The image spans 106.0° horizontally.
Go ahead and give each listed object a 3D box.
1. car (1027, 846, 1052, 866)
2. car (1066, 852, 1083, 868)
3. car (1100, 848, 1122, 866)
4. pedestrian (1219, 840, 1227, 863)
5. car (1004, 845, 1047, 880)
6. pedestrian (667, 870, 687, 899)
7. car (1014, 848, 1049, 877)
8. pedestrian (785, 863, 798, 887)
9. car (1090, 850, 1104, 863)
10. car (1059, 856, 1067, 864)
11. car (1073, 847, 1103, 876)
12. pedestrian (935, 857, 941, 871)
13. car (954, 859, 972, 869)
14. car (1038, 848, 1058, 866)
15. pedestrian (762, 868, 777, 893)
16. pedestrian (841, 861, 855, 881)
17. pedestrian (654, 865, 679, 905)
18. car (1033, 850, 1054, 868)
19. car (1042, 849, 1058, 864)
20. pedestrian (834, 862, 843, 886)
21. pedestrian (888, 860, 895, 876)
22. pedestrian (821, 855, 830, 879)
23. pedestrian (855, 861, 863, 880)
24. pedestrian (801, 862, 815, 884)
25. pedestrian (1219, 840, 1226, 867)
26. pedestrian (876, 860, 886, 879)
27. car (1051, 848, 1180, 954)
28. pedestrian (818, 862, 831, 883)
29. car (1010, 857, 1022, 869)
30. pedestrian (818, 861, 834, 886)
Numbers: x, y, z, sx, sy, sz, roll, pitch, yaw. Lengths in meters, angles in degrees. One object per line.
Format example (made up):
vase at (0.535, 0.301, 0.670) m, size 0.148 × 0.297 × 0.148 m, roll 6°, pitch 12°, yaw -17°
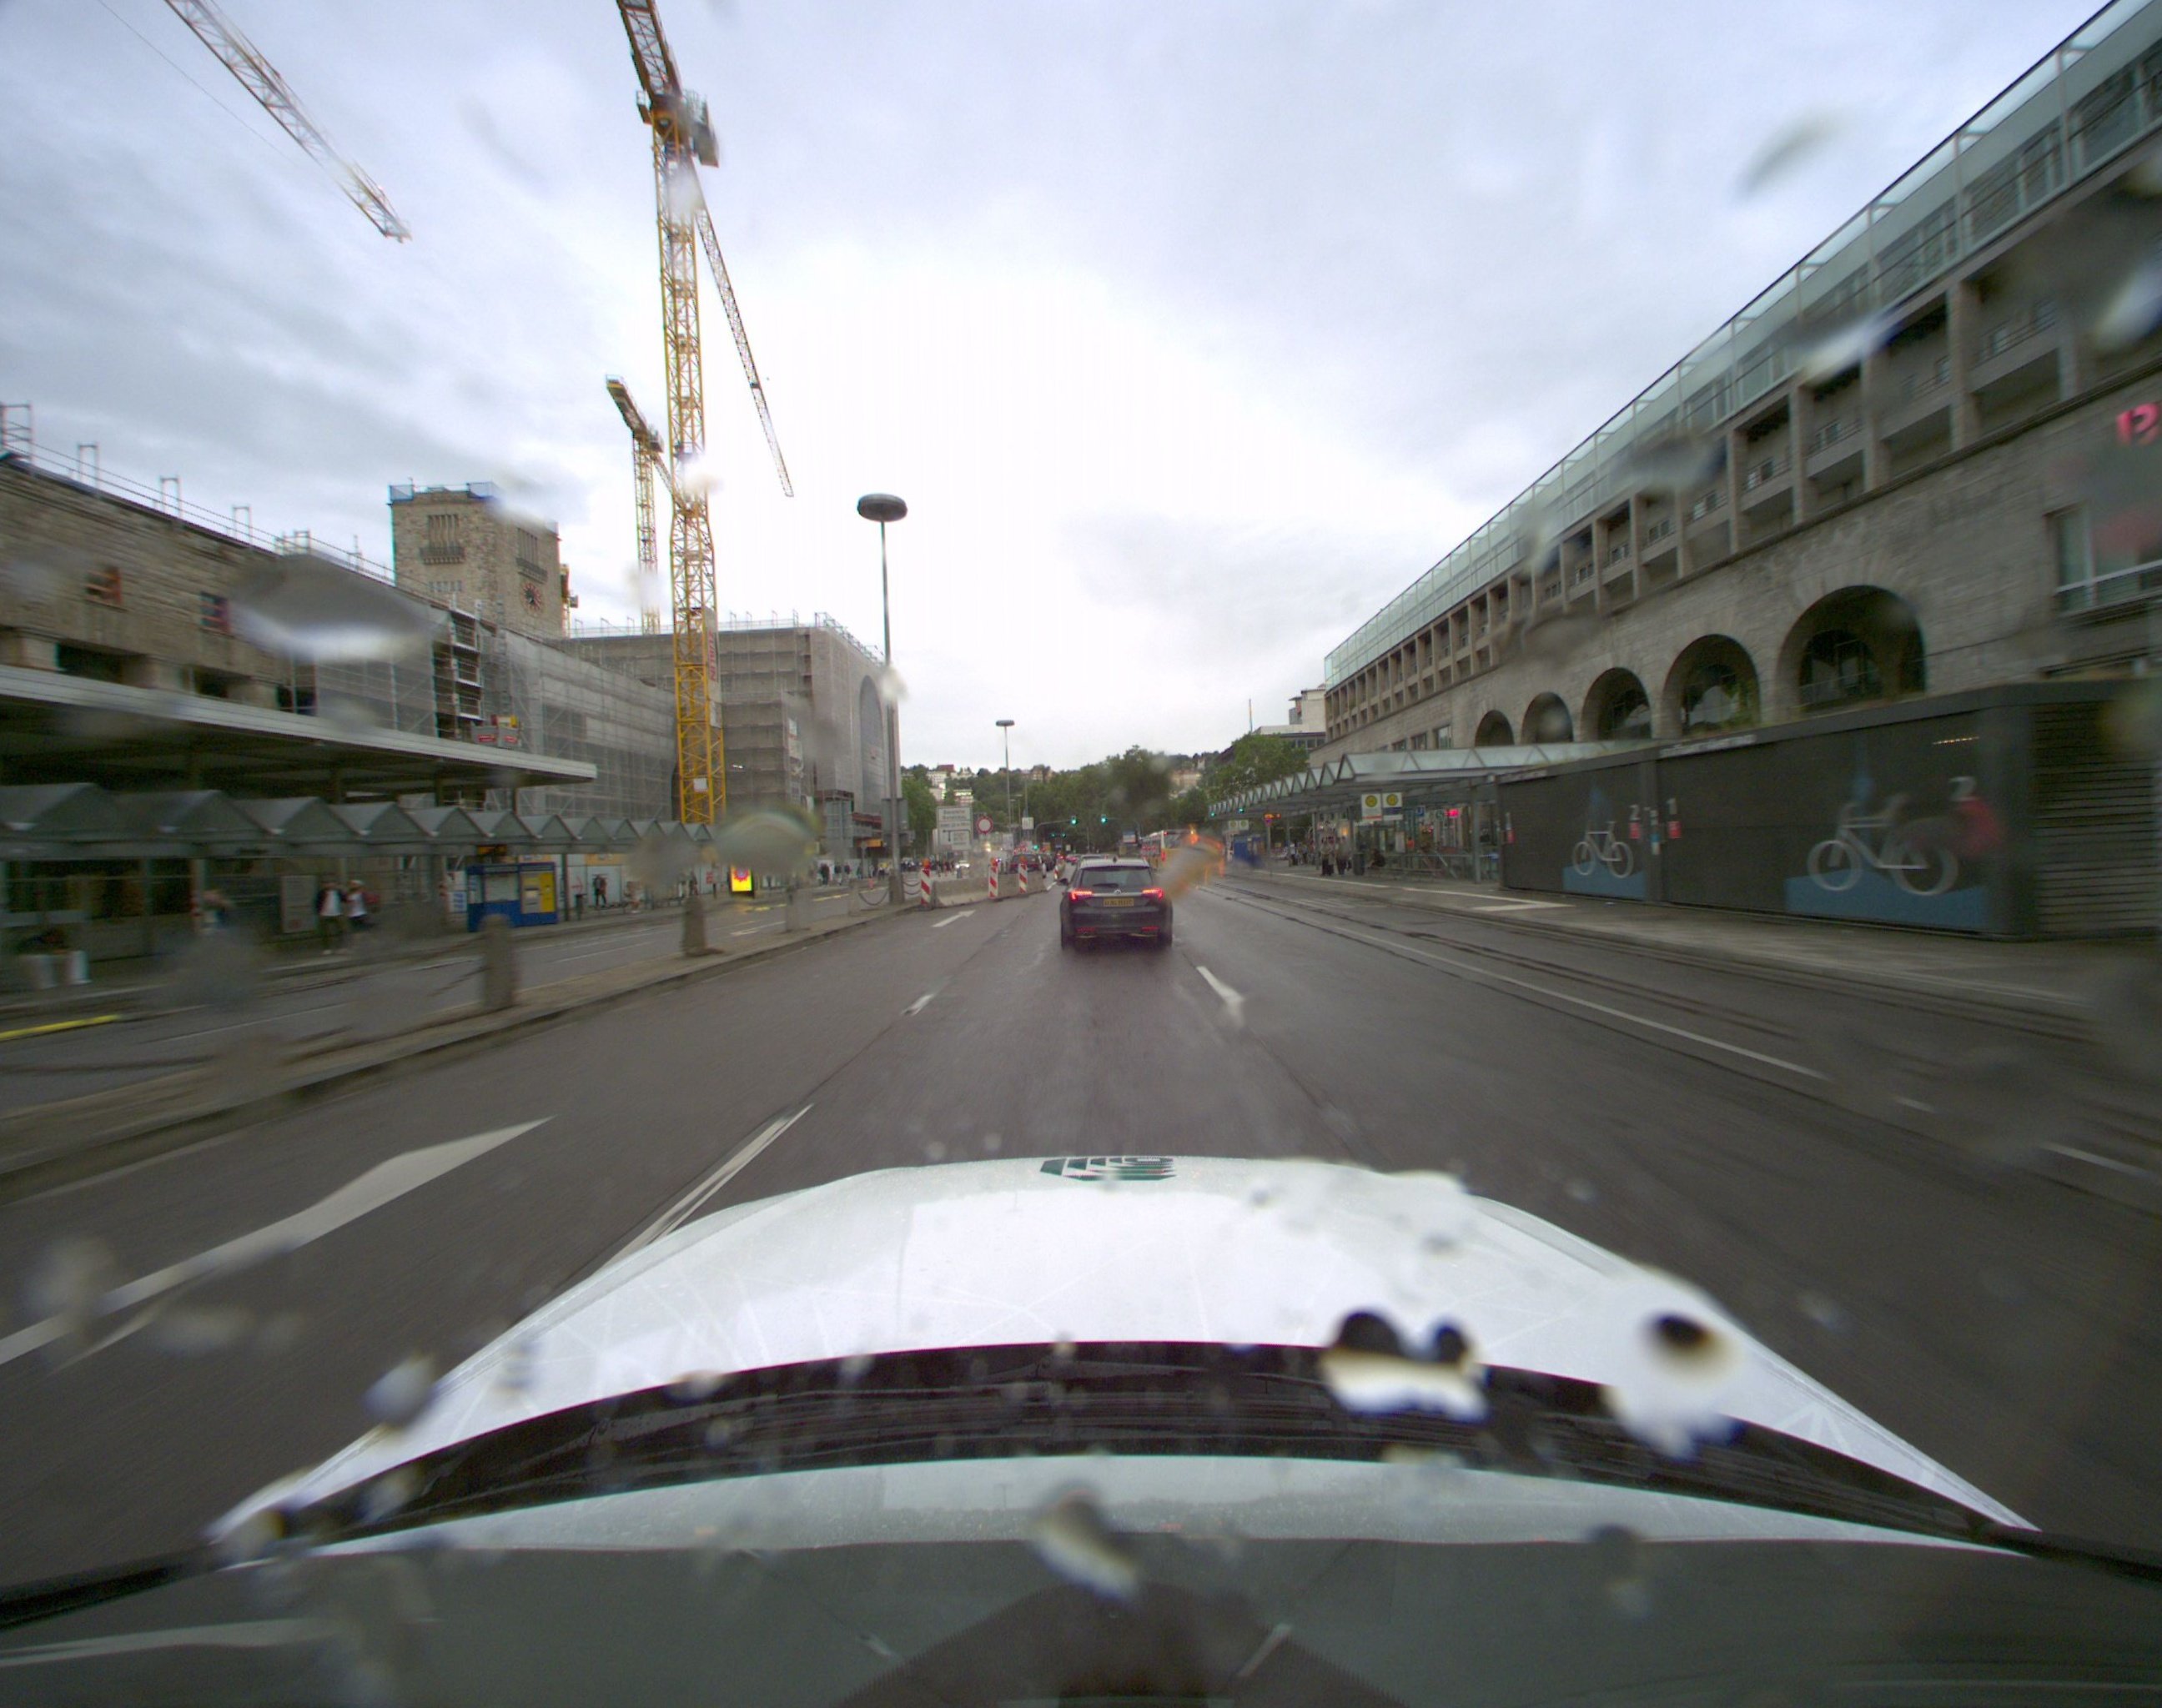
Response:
car at (-3.716, 0.212, 73.210) m, size 1.988 × 1.654 × 4.639 m, roll -3°, pitch 0°, yaw -1°
car at (-0.831, 0.746, 108.318) m, size 1.979 × 2.014 × 4.364 m, roll -1°, pitch 0°, yaw -3°
car at (2.900, 0.325, 80.593) m, size 1.847 × 1.717 × 3.996 m, roll -1°, pitch 0°, yaw -2°
pedestrian at (11.681, -0.196, 66.919) m, size 0.563 × 1.836 × 0.570 m, roll -2°, pitch 0°, yaw 3°
car at (-3.217, 0.482, 47.889) m, size 1.986 × 1.862 × 4.834 m, roll -3°, pitch 0°, yaw 1°
pedestrian at (-23.836, 1.807, 48.010) m, size 0.801 × 1.670 × 0.700 m, roll -2°, pitch 0°, yaw -5°
car at (-3.194, 0.515, 53.311) m, size 1.988 × 1.706 × 4.829 m, roll -3°, pitch 0°, yaw -1°
pedestrian at (-22.714, 1.631, 63.878) m, size 0.718 × 1.841 × 0.612 m, roll -2°, pitch 0°, yaw 3°
car at (2.039, 0.370, 103.033) m, size 1.669 × 1.581 × 3.238 m, roll -1°, pitch 0°, yaw -1°
car at (-3.792, 1.190, 172.933) m, size 1.700 × 1.665 × 3.706 m, roll -1°, pitch 0°, yaw 1°
car at (0.479, 0.454, 52.116) m, size 1.824 × 1.686 × 4.135 m, roll -3°, pitch 0°, yaw 1°
pedestrian at (-19.665, 1.380, 111.991) m, size 0.696 × 1.841 × 0.877 m, roll -1°, pitch -1°, yaw -2°
car at (-17.368, 1.437, 119.983) m, size 1.987 × 1.468 × 3.999 m, roll -1°, pitch 0°, yaw 0°
car at (-3.653, 0.315, 90.723) m, size 1.988 × 1.787 × 4.845 m, roll -3°, pitch 0°, yaw -1°
pedestrian at (-22.756, 1.933, 59.433) m, size 0.739 × 1.841 × 0.657 m, roll -2°, pitch 0°, yaw 3°
pedestrian at (-21.382, 1.565, 74.794) m, size 0.835 × 1.841 × 1.059 m, roll -2°, pitch 0°, yaw 4°
pedestrian at (-19.818, 1.489, 38.934) m, size 0.738 × 1.841 × 0.705 m, roll -2°, pitch 0°, yaw 20°
car at (-3.873, 0.496, 84.717) m, size 1.988 × 1.787 × 4.450 m, roll -3°, pitch 0°, yaw -2°
car at (-3.831, 0.290, 102.280) m, size 1.781 × 1.685 × 4.665 m, roll -3°, pitch 0°, yaw 0°
pedestrian at (-18.857, 1.541, 63.302) m, size 0.507 × 1.841 × 0.703 m, roll -2°, pitch 0°, yaw -6°
pedestrian at (-20.245, 1.514, 87.062) m, size 0.682 × 1.685 × 0.834 m, roll -2°, pitch 0°, yaw -14°
pedestrian at (-19.873, 1.006, 63.287) m, size 0.335 × 1.841 × 0.512 m, roll -2°, pitch 0°, yaw 27°
pedestrian at (-21.252, 1.582, 77.963) m, size 0.571 × 1.841 × 0.701 m, roll -2°, pitch 0°, yaw -14°
pedestrian at (-22.934, 1.594, 68.365) m, size 0.799 × 1.841 × 0.869 m, roll -2°, pitch 0°, yaw 4°
pedestrian at (9.691, -0.027, 55.803) m, size 0.345 × 1.836 × 0.533 m, roll -2°, pitch 0°, yaw 4°
pedestrian at (-19.200, 1.466, 78.155) m, size 0.876 × 1.841 × 0.834 m, roll -2°, pitch 0°, yaw -14°
car at (0.584, 0.704, 14.541) m, size 1.870 × 1.508 × 4.853 m, roll -2°, pitch 0°, yaw 2°
pedestrian at (-23.655, 1.706, 75.201) m, size 0.799 × 1.841 × 0.851 m, roll -2°, pitch 0°, yaw 4°
car at (-11.468, 1.527, 143.230) m, size 1.991 × 2.014 × 5.359 m, roll -1°, pitch 0°, yaw -5°
pedestrian at (-19.605, 1.492, 62.611) m, size 0.695 × 1.841 × 0.883 m, roll -2°, pitch 0°, yaw 29°
